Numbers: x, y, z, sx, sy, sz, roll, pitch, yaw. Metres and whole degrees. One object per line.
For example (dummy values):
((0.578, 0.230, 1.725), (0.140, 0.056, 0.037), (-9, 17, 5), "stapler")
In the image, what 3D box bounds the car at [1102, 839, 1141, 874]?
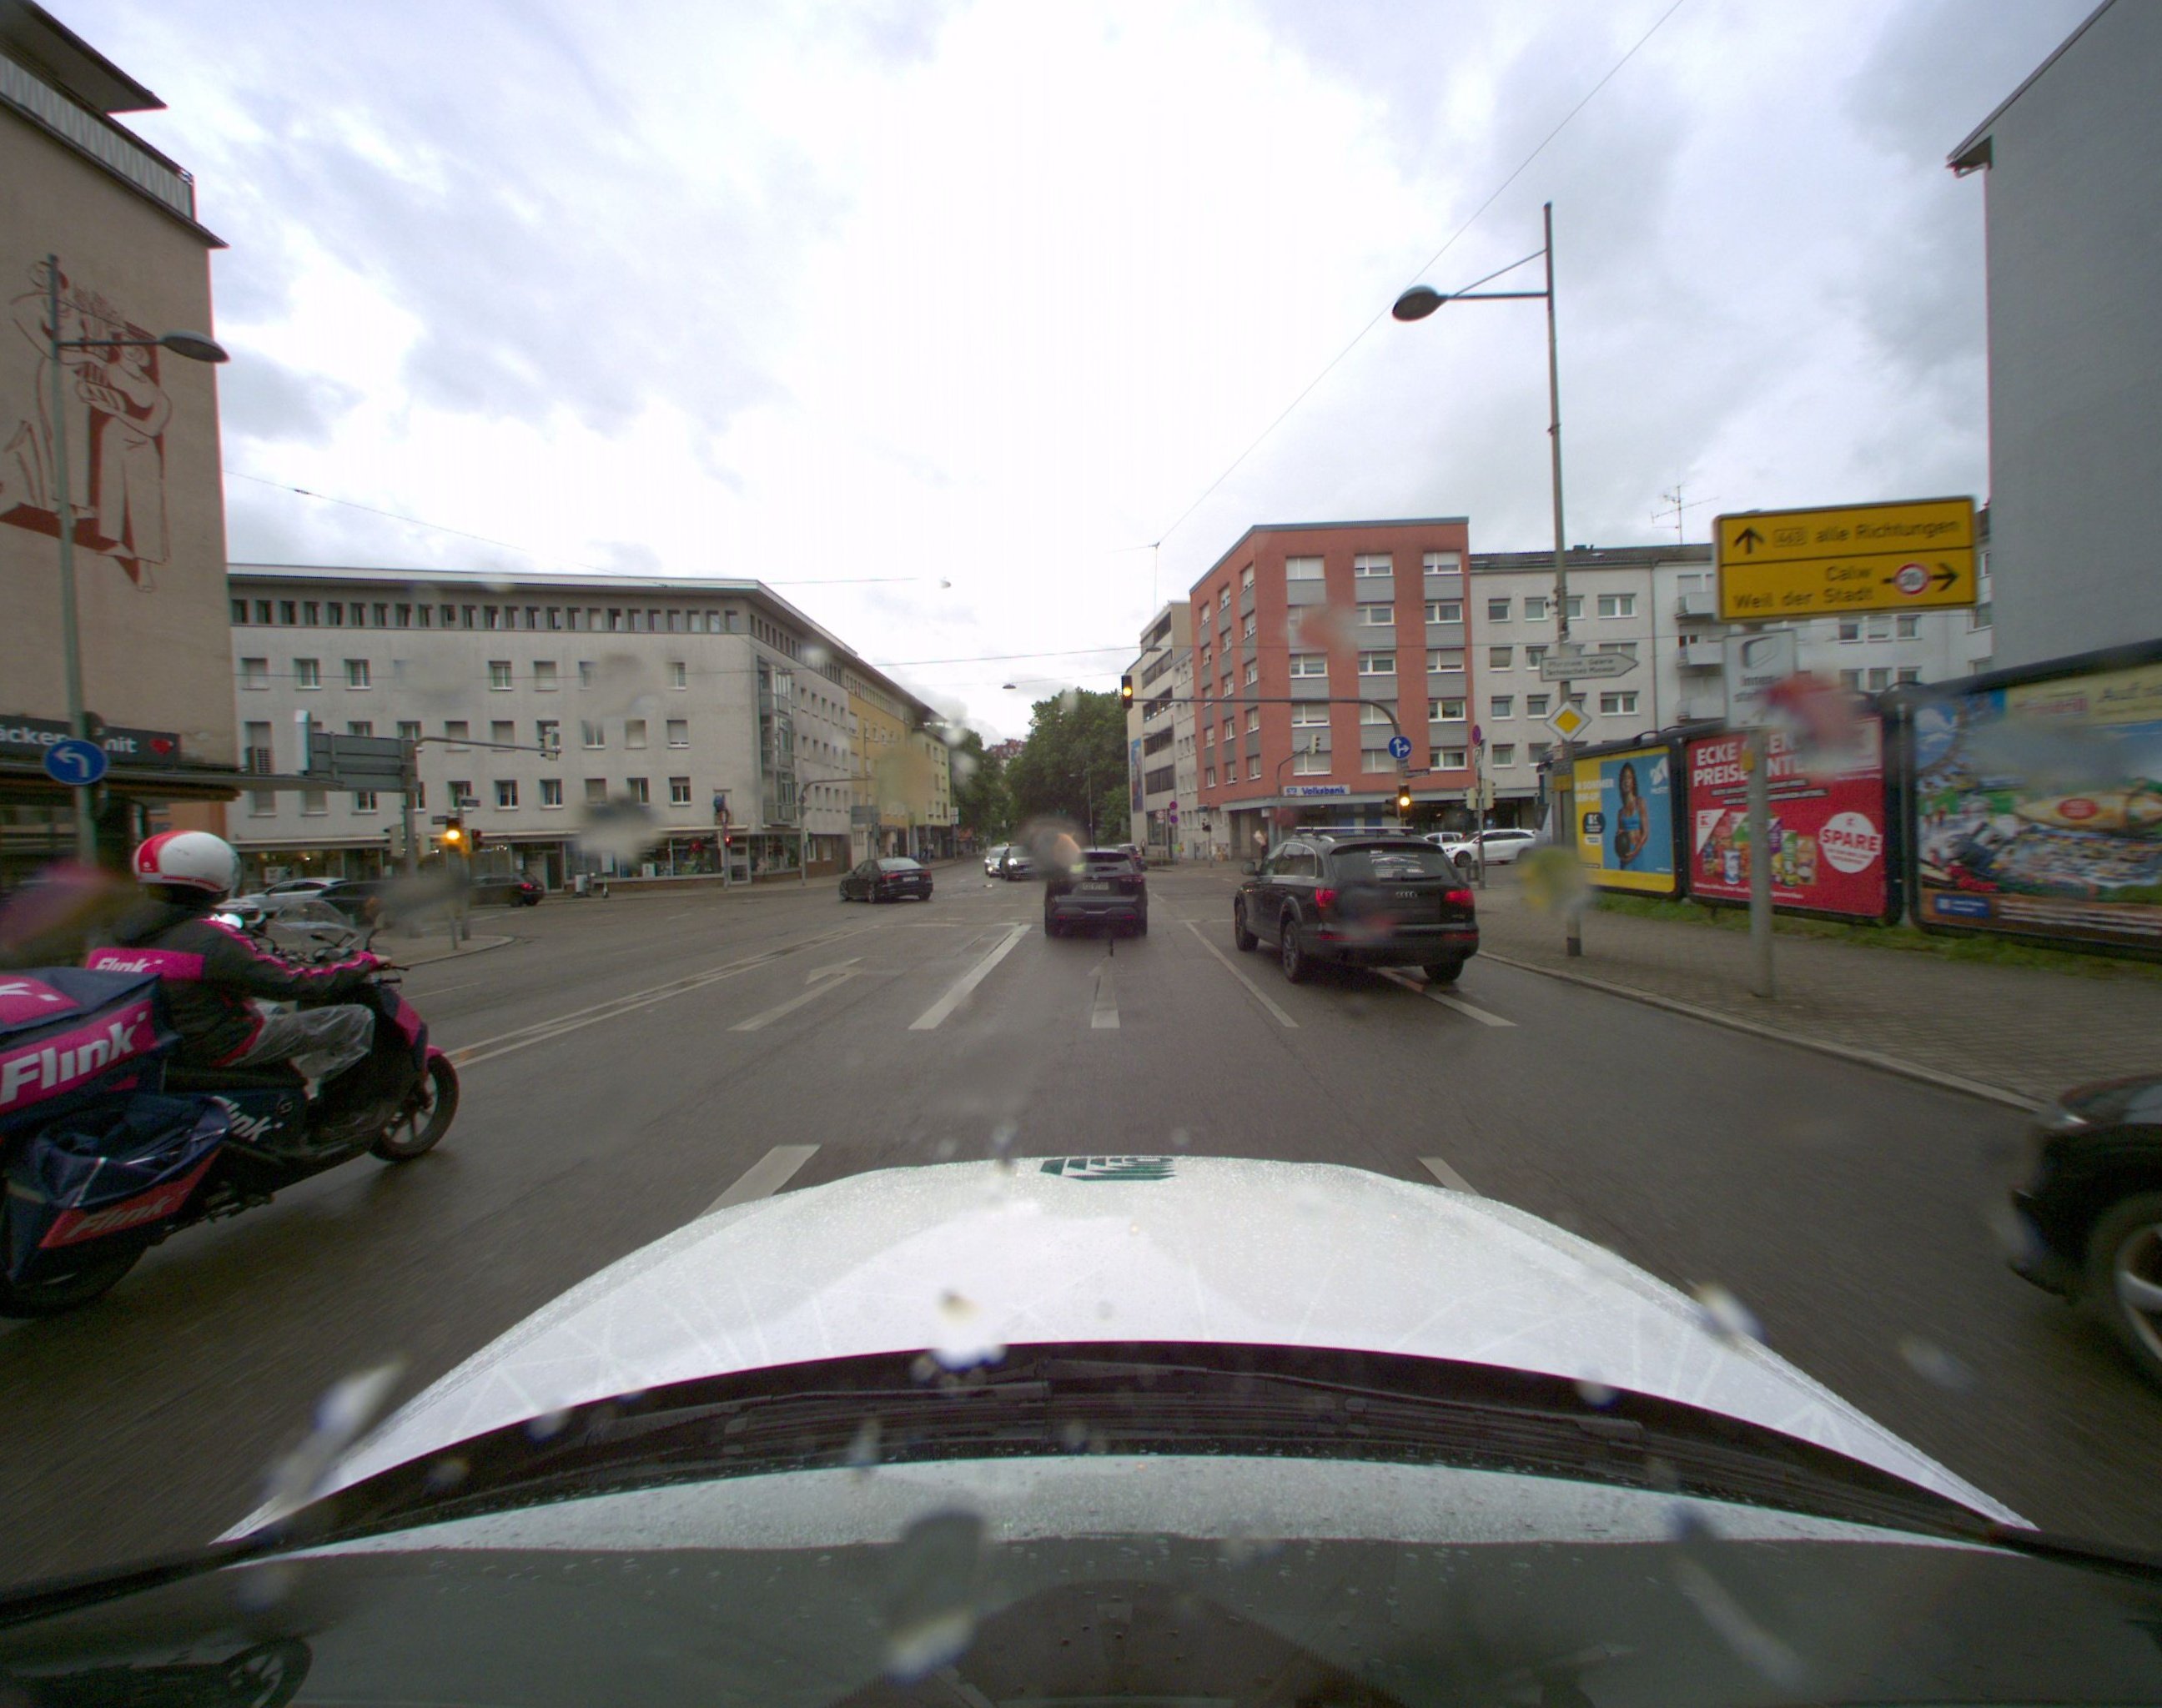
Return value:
((2.379, 0.129, 48.614), (1.940, 1.816, 3.998), (-4, 0, -1), "car")

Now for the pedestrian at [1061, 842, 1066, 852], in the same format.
((-3.207, -1.293, 151.538), (0.712, 1.791, 0.673), (0, 1, 43), "pedestrian")

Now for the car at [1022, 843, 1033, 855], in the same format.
((-8.834, -0.812, 134.160), (1.817, 1.796, 3.862), (-1, 1, -3), "car")

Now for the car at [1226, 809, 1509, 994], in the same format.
((3.363, 0.470, 10.760), (2.015, 1.869, 4.898), (0, 0, 0), "car")

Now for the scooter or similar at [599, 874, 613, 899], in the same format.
((-22.832, 1.541, 39.145), (0.366, 1.094, 1.127), (-4, 4, -22), "scooter or similar")

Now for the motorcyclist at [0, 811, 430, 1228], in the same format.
((-3.505, 0.591, 3.377), (0.912, 1.493, 0.863), (0, 0, -3), "motorcyclist")

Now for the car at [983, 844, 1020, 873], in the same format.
((-4.748, 0.276, 49.243), (1.815, 1.608, 4.428), (-3, 0, -1), "car")

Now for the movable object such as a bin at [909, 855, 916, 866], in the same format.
((-15.331, 0.612, 74.145), (0.452, 0.929, 0.503), (-2, 1, 1), "movable object such as a bin")

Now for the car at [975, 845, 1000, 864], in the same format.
((-9.438, 0.053, 82.167), (1.987, 1.859, 4.000), (0, 1, 0), "car")

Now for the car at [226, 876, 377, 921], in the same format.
((-34.423, 1.932, 36.100), (4.329, 1.631, 2.038), (-3, 1, -12), "car")

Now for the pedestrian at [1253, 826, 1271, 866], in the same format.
((9.807, -0.458, 44.194), (0.822, 2.158, 0.770), (0, 1, 0), "pedestrian")

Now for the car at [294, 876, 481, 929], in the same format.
((-23.442, 1.606, 27.699), (4.322, 1.376, 2.042), (-2, 2, -7), "car")

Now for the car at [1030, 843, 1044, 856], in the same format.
((-5.971, -0.614, 109.981), (1.818, 1.612, 3.859), (-1, 1, -5), "car")

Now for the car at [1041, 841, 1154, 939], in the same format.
((0.231, 0.587, 15.671), (1.889, 1.629, 3.997), (0, 0, -2), "car")

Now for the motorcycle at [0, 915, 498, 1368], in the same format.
((-3.512, 0.945, 3.481), (0.585, 1.191, 2.100), (0, 0, -2), "motorcycle")

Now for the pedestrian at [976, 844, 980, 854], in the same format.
((-18.574, -0.934, 147.024), (0.667, 1.791, 0.718), (-1, 1, -12), "pedestrian")

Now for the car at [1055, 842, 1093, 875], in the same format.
((-0.446, 0.218, 46.695), (1.941, 1.684, 3.997), (-4, 0, -2), "car")

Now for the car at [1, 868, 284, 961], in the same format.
((-24.517, 1.531, 21.441), (4.840, 2.103, 2.044), (-3, -2, -3), "car")

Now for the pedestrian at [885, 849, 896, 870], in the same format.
((-14.294, 0.419, 61.067), (0.684, 1.581, 0.652), (0, 1, 2), "pedestrian")

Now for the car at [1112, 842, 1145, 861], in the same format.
((3.802, -0.233, 65.994), (1.773, 1.401, 4.568), (-4, 1, -8), "car")

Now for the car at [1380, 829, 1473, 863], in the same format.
((17.251, -0.418, 40.756), (3.933, 1.486, 1.703), (-3, 1, 0), "car")

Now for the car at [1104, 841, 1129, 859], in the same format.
((3.129, -0.345, 72.636), (1.712, 1.442, 4.075), (-4, 1, -4), "car")

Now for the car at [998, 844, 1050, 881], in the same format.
((-2.748, 0.371, 38.226), (1.857, 1.553, 4.210), (-3, 0, -11), "car")

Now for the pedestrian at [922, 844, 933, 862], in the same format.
((-14.978, -0.086, 79.478), (0.862, 1.788, 0.875), (0, 0, 0), "pedestrian")

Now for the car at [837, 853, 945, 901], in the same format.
((-6.363, 0.732, 26.897), (2.008, 1.388, 4.452), (-2, 0, -34), "car")

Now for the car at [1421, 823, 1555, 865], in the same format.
((16.880, -0.423, 33.915), (4.637, 1.486, 1.919), (-3, 1, -1), "car")

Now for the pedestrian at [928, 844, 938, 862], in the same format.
((-14.884, -0.104, 81.875), (0.797, 1.688, 0.815), (-2, 1, -6), "pedestrian")

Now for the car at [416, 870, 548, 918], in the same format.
((-24.800, 1.628, 33.867), (3.993, 1.626, 1.690), (-4, 0, -15), "car")

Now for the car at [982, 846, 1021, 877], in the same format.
((-4.286, 0.381, 44.001), (1.931, 1.526, 4.127), (-3, 0, -5), "car")

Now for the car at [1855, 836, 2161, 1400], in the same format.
((3.705, 0.689, 0.982), (1.777, 1.497, 4.058), (-1, 0, 2), "car")

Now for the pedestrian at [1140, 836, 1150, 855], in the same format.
((5.840, -0.777, 74.777), (0.613, 1.737, 0.678), (-4, 1, -13), "pedestrian")
